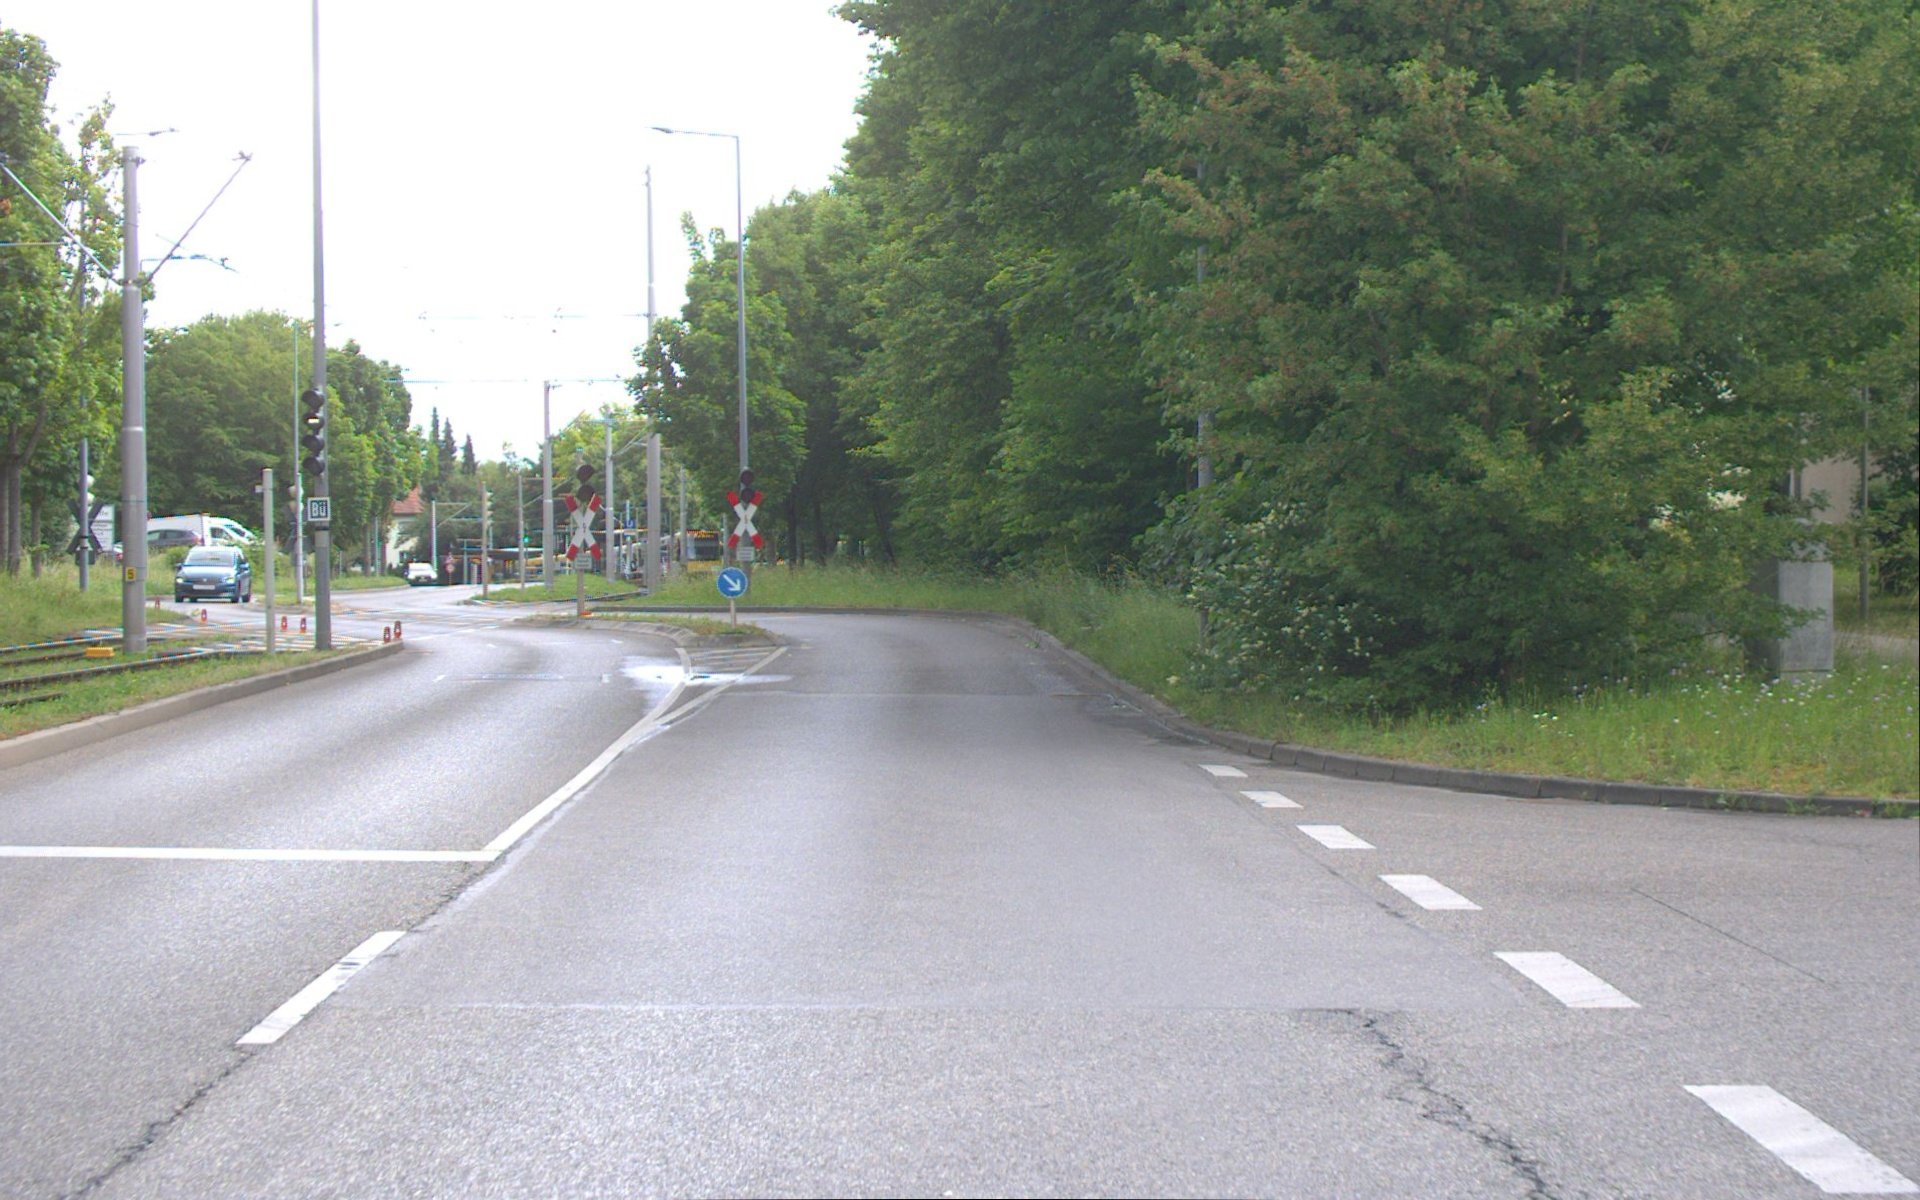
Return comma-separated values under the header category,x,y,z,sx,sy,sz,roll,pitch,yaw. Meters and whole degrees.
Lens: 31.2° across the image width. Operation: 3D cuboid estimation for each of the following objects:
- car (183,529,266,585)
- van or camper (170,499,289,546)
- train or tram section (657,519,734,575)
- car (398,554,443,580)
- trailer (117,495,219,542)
category,x,y,z,sx,sy,sz,roll,pitch,yaw
car,-21.291,-1.266,99.648,1.867,1.515,4.240,0,2,-5
van or camper,-34.759,-3.678,163.590,5.332,2.195,2.000,0,1,-5
train or tram section,-17.431,-3.504,224.191,3.007,3.299,34.720,0,1,-8
car,-32.318,-1.993,206.098,1.993,1.433,4.426,-2,1,-1
trailer,-34.345,-3.530,149.151,3.986,2.007,1.908,0,1,-2
